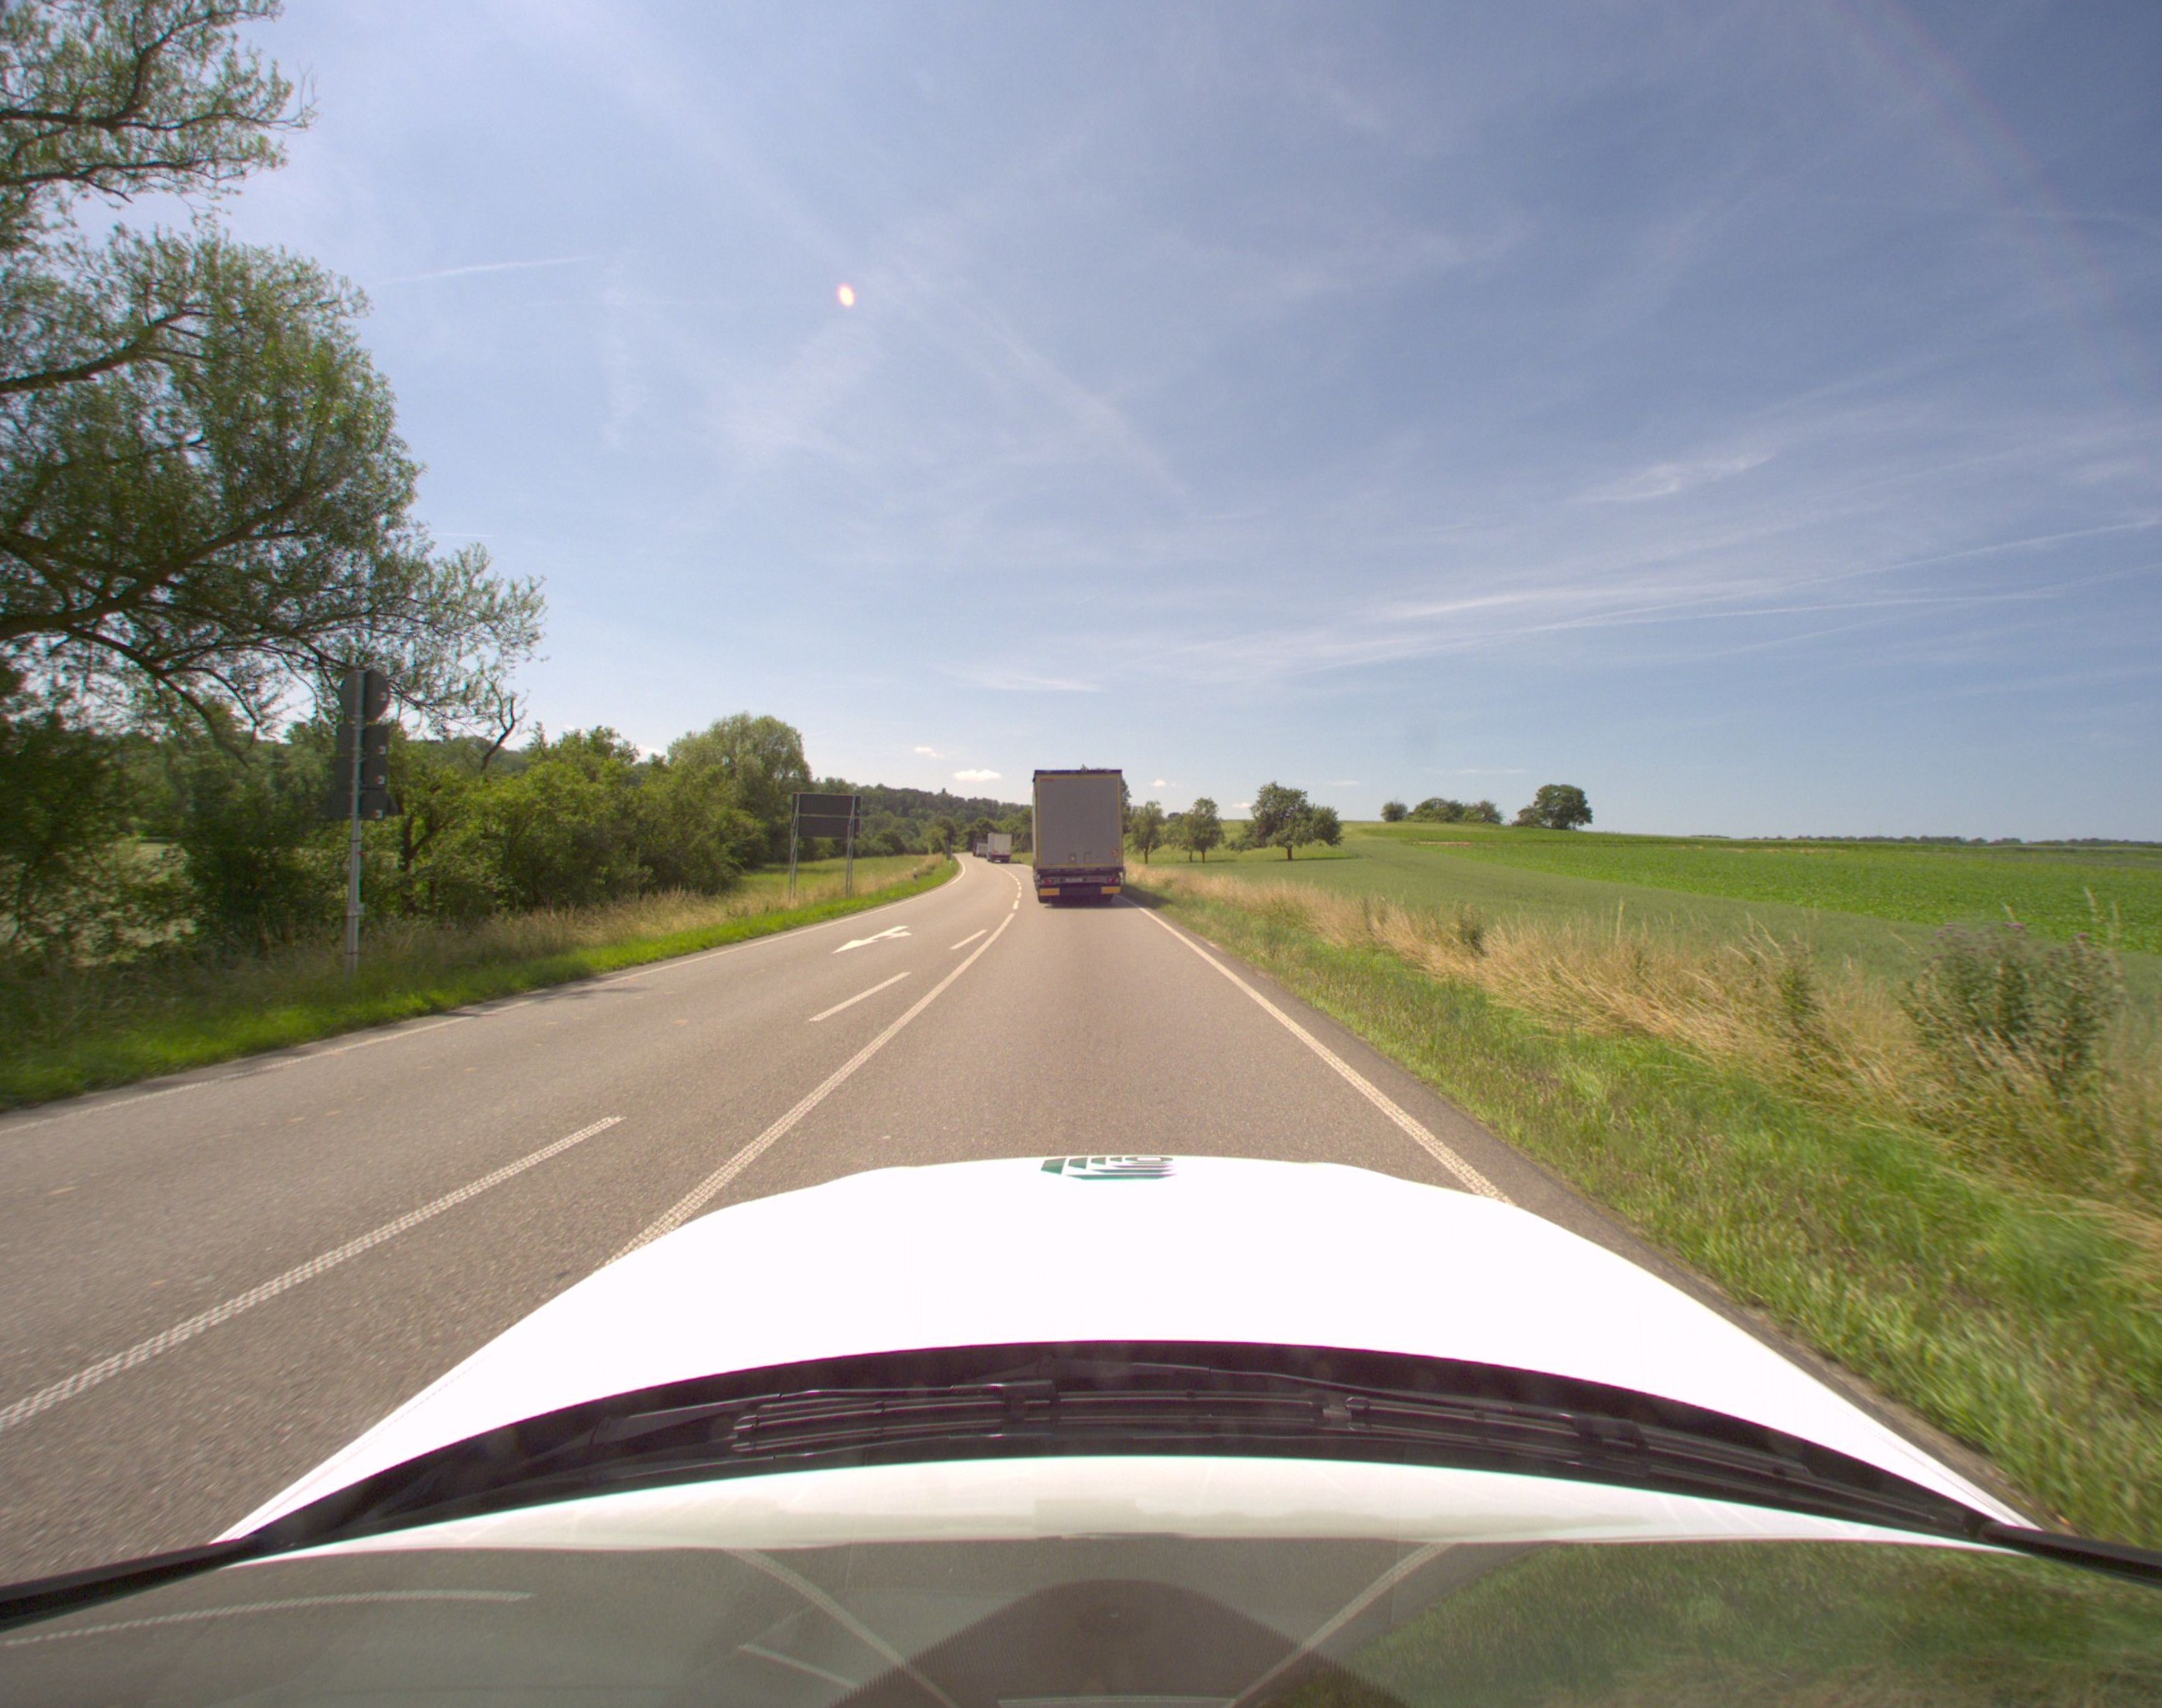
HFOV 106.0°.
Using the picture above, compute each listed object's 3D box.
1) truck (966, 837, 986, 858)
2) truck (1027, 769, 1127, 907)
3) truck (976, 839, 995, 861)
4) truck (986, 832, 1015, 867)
[{"bbox_3d":[-24.762,-1.487,191.191,3.531,4.241,13.349,2,-2,-12],"label":"truck"},{"bbox_3d":[-0.357,-0.492,28.269,2.802,3.946,9.579,-1,0,-3],"label":"truck"},{"bbox_3d":[-20.397,-0.823,172.781,3.635,4.130,13.058,2,-2,-8],"label":"truck"},{"bbox_3d":[-11.469,-0.601,114.505,2.961,4.584,16.261,1,0,-10],"label":"truck"}]
